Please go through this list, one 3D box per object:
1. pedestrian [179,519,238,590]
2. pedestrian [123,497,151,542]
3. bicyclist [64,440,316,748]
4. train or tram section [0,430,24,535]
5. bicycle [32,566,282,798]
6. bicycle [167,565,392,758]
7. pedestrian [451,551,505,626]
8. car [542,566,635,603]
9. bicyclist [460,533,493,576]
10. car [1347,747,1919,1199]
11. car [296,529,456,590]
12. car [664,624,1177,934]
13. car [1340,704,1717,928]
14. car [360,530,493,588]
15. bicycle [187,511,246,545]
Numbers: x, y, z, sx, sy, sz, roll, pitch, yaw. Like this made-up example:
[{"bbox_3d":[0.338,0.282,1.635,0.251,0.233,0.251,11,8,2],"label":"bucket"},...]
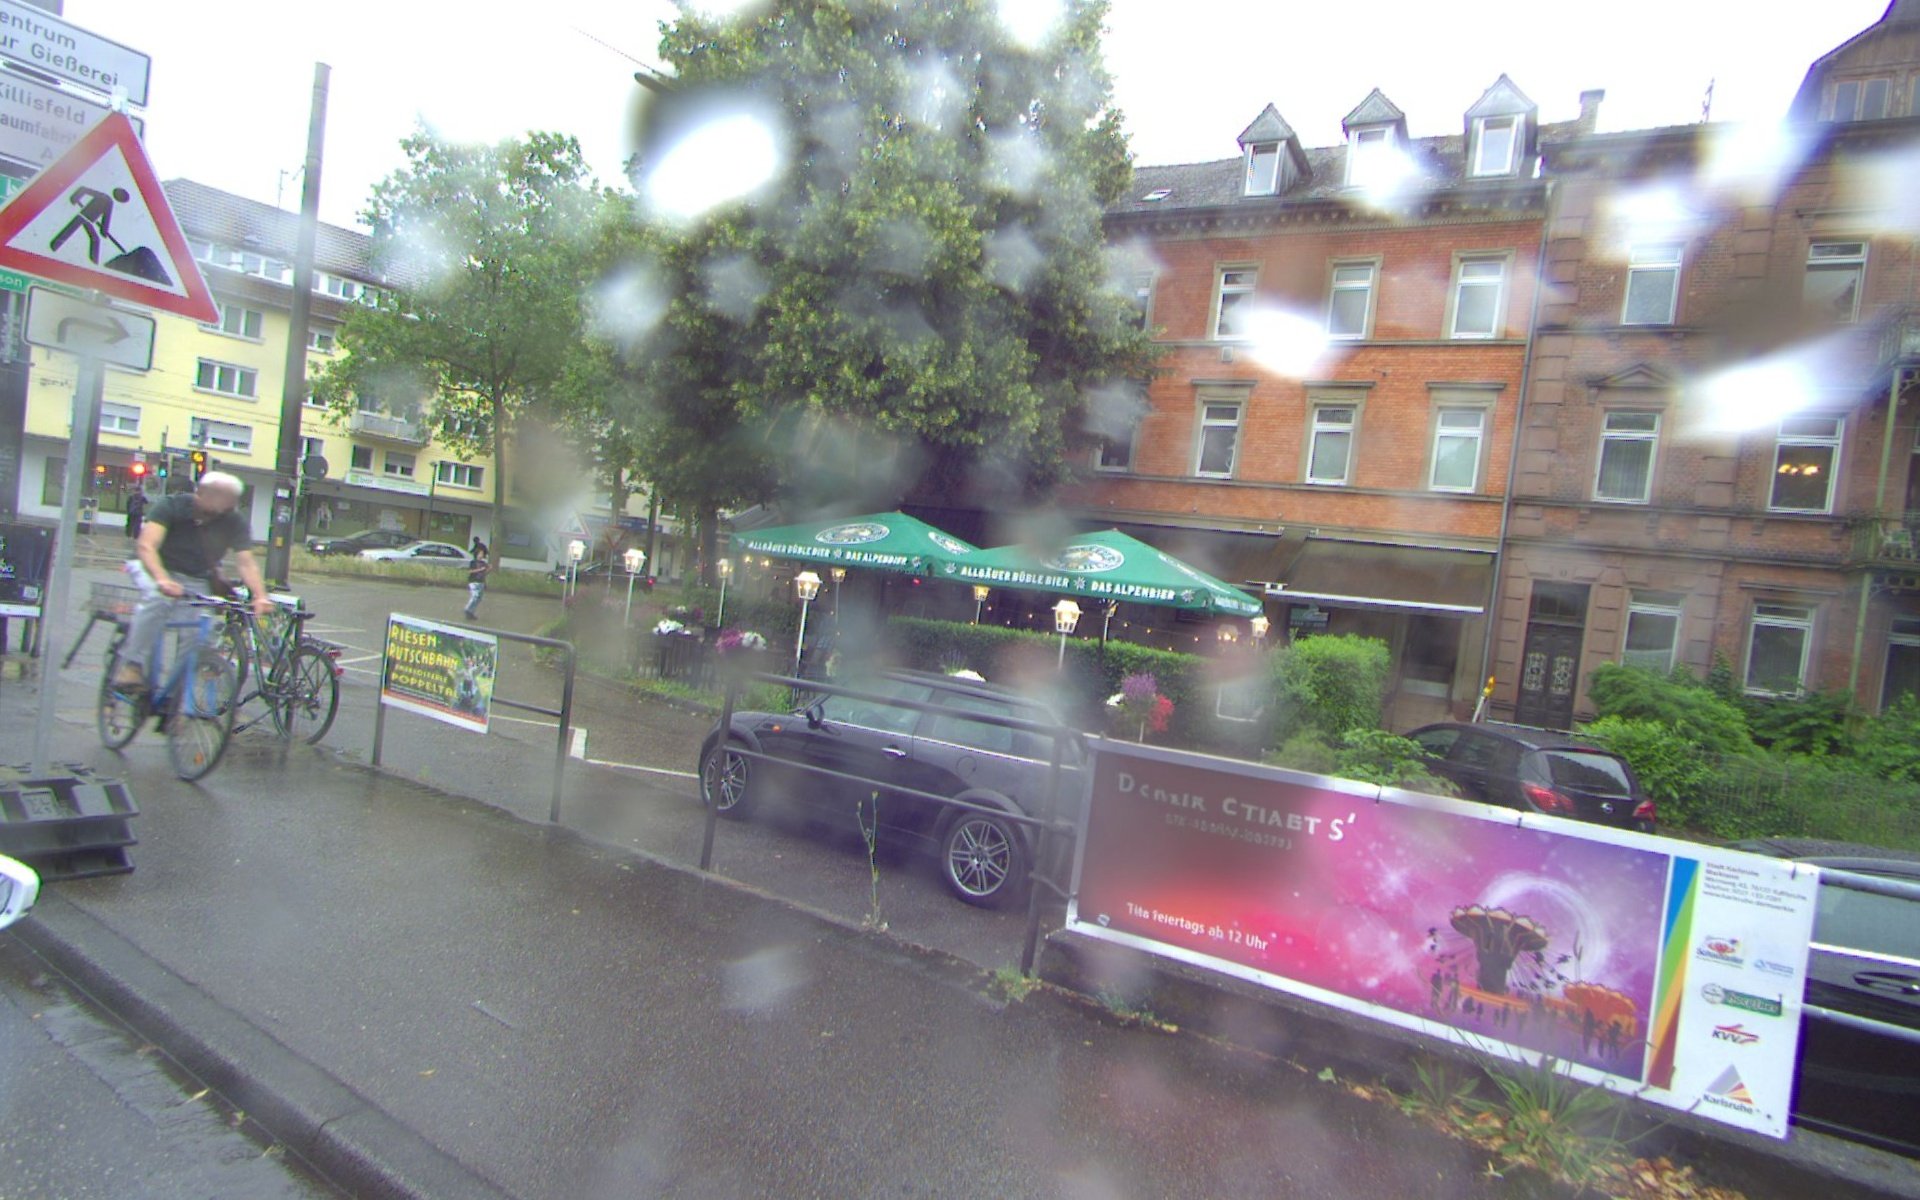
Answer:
[{"bbox_3d":[-17.491,-1.045,23.439,0.612,1.552,0.816,7,0,-6],"label":"pedestrian"},{"bbox_3d":[-29.403,-2.867,35.949,0.618,1.518,0.547,7,0,-39],"label":"pedestrian"},{"bbox_3d":[-4.440,-0.016,5.806,0.848,1.602,0.877,7,-1,42],"label":"bicyclist"},{"bbox_3d":[-35.047,-4.628,27.138,3.485,3.451,15.525,8,-2,7],"label":"train or tram section"},{"bbox_3d":[-4.660,0.417,5.791,1.870,1.040,0.459,7,0,32],"label":"bicycle"},{"bbox_3d":[-5.045,0.417,7.406,1.984,1.119,0.515,7,-3,34],"label":"bicycle"},{"bbox_3d":[-11.688,-0.283,24.378,0.898,1.689,1.011,7,-1,-33],"label":"pedestrian"},{"bbox_3d":[-15.551,-0.624,42.277,1.227,1.095,3.531,7,-2,34],"label":"car"},{"bbox_3d":[-20.038,-1.869,41.692,0.699,1.634,0.815,7,0,32],"label":"bicyclist"},{"bbox_3d":[4.190,1.796,4.961,3.907,1.416,1.706,7,-1,32],"label":"car"},{"bbox_3d":[-22.450,-1.522,38.827,1.975,1.661,4.928,3,-4,43],"label":"car"},{"bbox_3d":[-0.364,1.231,7.802,3.468,1.457,1.710,8,-3,34],"label":"car"},{"bbox_3d":[6.568,2.417,12.258,1.964,1.733,3.999,7,-1,-4],"label":"car"},{"bbox_3d":[-19.742,-1.512,37.289,3.926,1.508,1.784,8,0,-43],"label":"car"},{"bbox_3d":[-35.606,-3.436,48.202,2.096,1.277,0.525,8,0,-44],"label":"bicycle"}]
